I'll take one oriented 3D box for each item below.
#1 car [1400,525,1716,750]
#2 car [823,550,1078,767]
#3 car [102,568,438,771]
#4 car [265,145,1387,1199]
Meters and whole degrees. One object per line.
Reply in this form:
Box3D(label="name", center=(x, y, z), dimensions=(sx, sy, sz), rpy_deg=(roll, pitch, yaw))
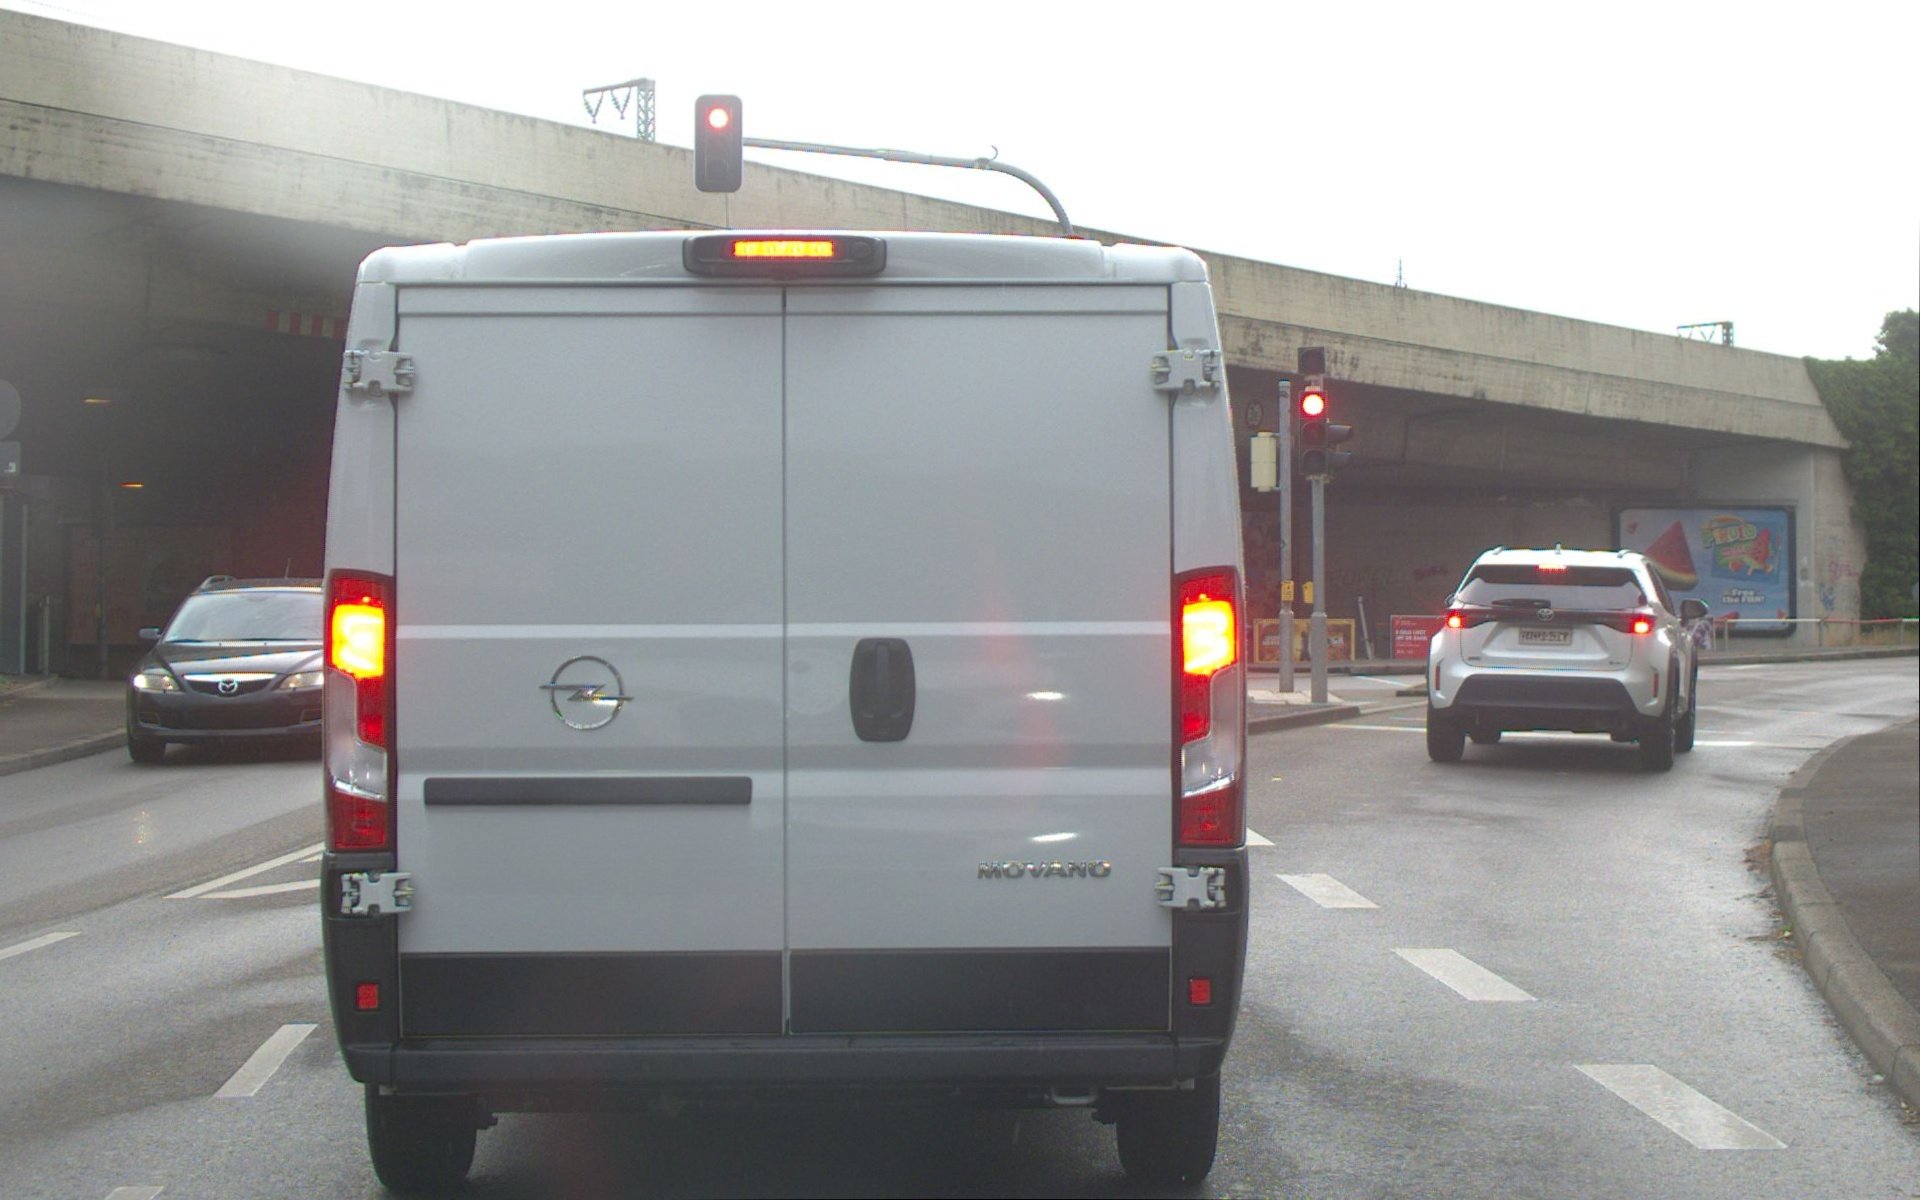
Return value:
Box3D(label="car", center=(4.568, 0.278, 25.828), dimensions=(1.995, 1.544, 3.997), rpy_deg=(0, -1, 15))
Box3D(label="car", center=(-0.006, 0.486, 29.438), dimensions=(1.994, 1.723, 3.999), rpy_deg=(0, -1, 3))
Box3D(label="car", center=(-5.659, 0.520, 28.731), dimensions=(1.842, 1.564, 4.412), rpy_deg=(0, 0, 1))
Box3D(label="car", center=(-0.288, 0.222, 9.756), dimensions=(2.305, 2.335, 5.282), rpy_deg=(0, 0, 0))
